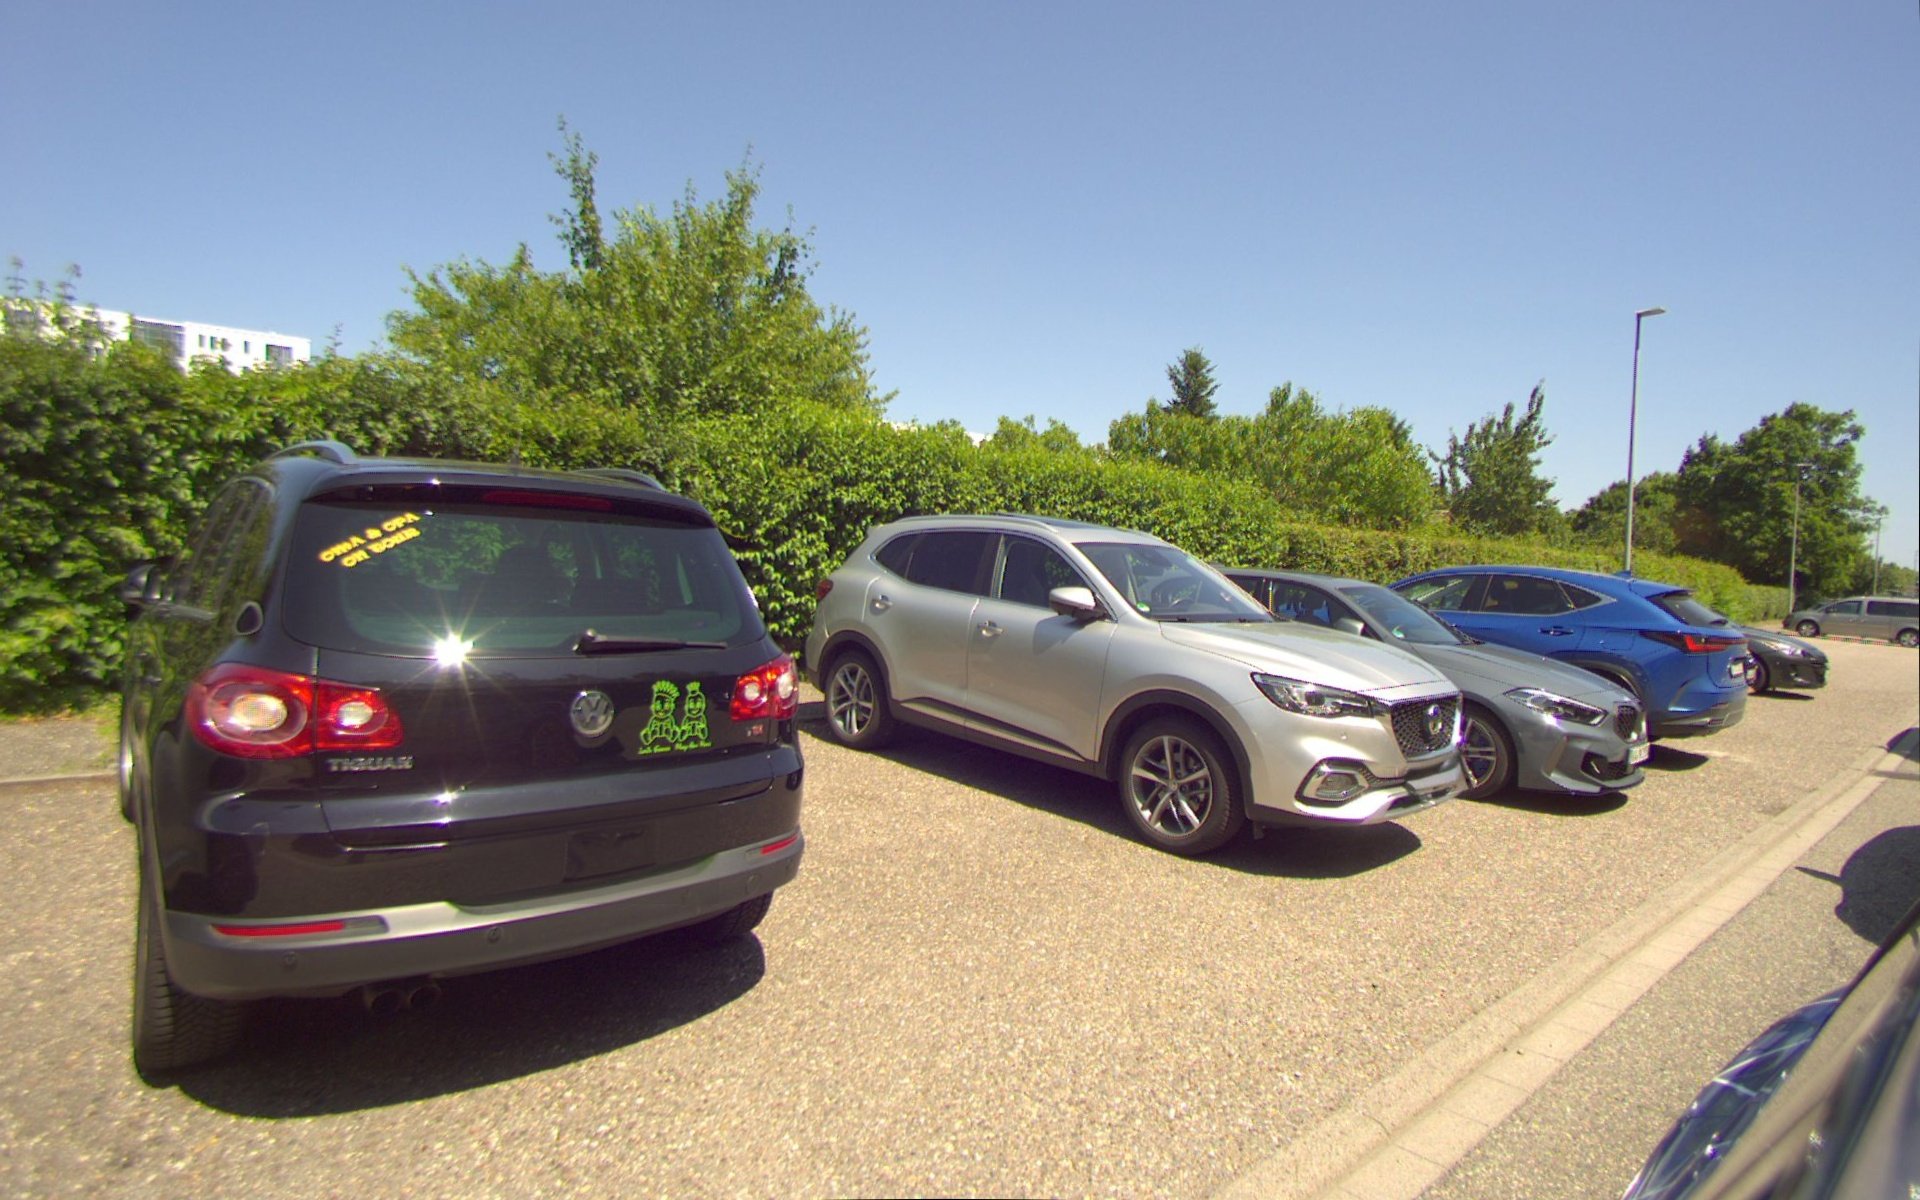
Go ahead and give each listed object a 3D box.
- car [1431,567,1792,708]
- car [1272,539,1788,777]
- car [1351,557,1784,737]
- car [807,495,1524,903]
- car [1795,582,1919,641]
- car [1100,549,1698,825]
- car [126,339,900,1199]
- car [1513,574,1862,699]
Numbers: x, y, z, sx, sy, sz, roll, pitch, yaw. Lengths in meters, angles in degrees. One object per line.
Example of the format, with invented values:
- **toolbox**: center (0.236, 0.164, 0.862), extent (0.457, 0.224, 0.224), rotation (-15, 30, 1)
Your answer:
- **car**: center (9.291, 0.427, 14.711), extent (1.620, 1.463, 4.037), rotation (0, 5, -40)
- **car**: center (5.369, 0.371, 10.007), extent (1.644, 1.661, 4.037), rotation (1, 5, -40)
- **car**: center (7.029, 0.406, 12.081), extent (1.620, 1.532, 4.037), rotation (0, 5, -40)
- **car**: center (0.958, 0.273, 6.445), extent (1.746, 1.661, 4.168), rotation (0, 5, -42)
- **car**: center (35.526, 0.456, 39.303), extent (1.668, 1.872, 4.487), rotation (1, 5, -44)
- **car**: center (3.244, 0.454, 8.156), extent (1.651, 1.425, 4.036), rotation (0, 5, -41)
- **car**: center (-2.163, 0.200, 4.044), extent (1.735, 1.706, 3.983), rotation (1, 4, -40)
- **car**: center (11.602, 0.477, 16.405), extent (1.620, 1.434, 4.253), rotation (0, 5, -40)
